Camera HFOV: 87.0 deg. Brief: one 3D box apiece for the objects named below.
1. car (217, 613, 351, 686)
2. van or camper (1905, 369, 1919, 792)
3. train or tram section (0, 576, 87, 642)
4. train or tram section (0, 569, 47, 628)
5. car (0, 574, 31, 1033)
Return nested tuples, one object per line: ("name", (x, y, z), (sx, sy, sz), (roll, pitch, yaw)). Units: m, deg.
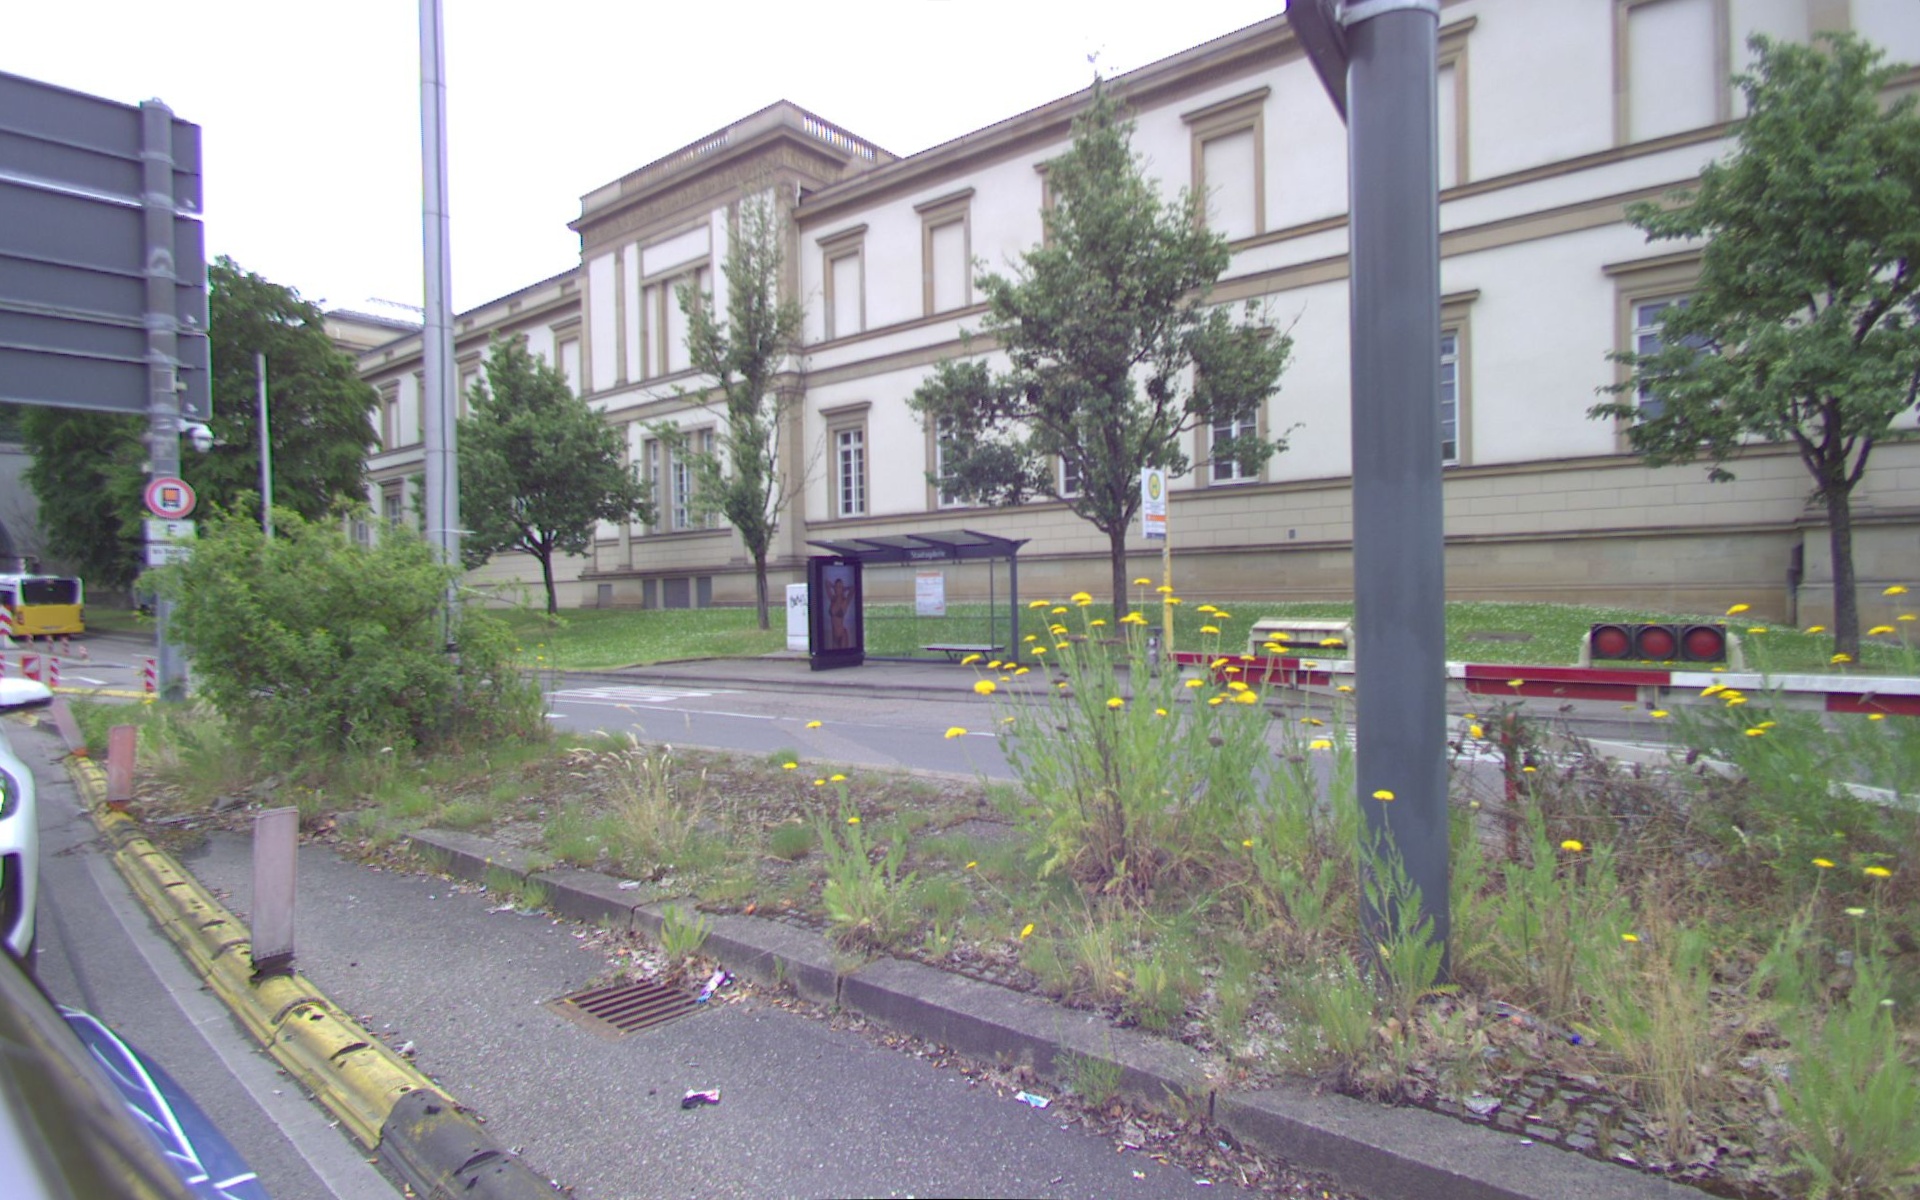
("car", (-17.167, 1.177, 25.610), (4.371, 1.638, 1.859), (-1, 0, 43))
("van or camper", (8.167, -0.113, 3.979), (6.038, 2.630, 2.145), (-2, -1, 20))
("train or tram section", (-47.102, 0.514, 51.281), (9.325, 3.094, 2.667), (-1, -2, 39))
("train or tram section", (-54.361, 0.019, 57.162), (9.366, 3.094, 2.667), (-1, -2, 39))
("car", (-5.240, 0.718, 4.208), (3.911, 1.568, 1.733), (-1, 0, 43))
